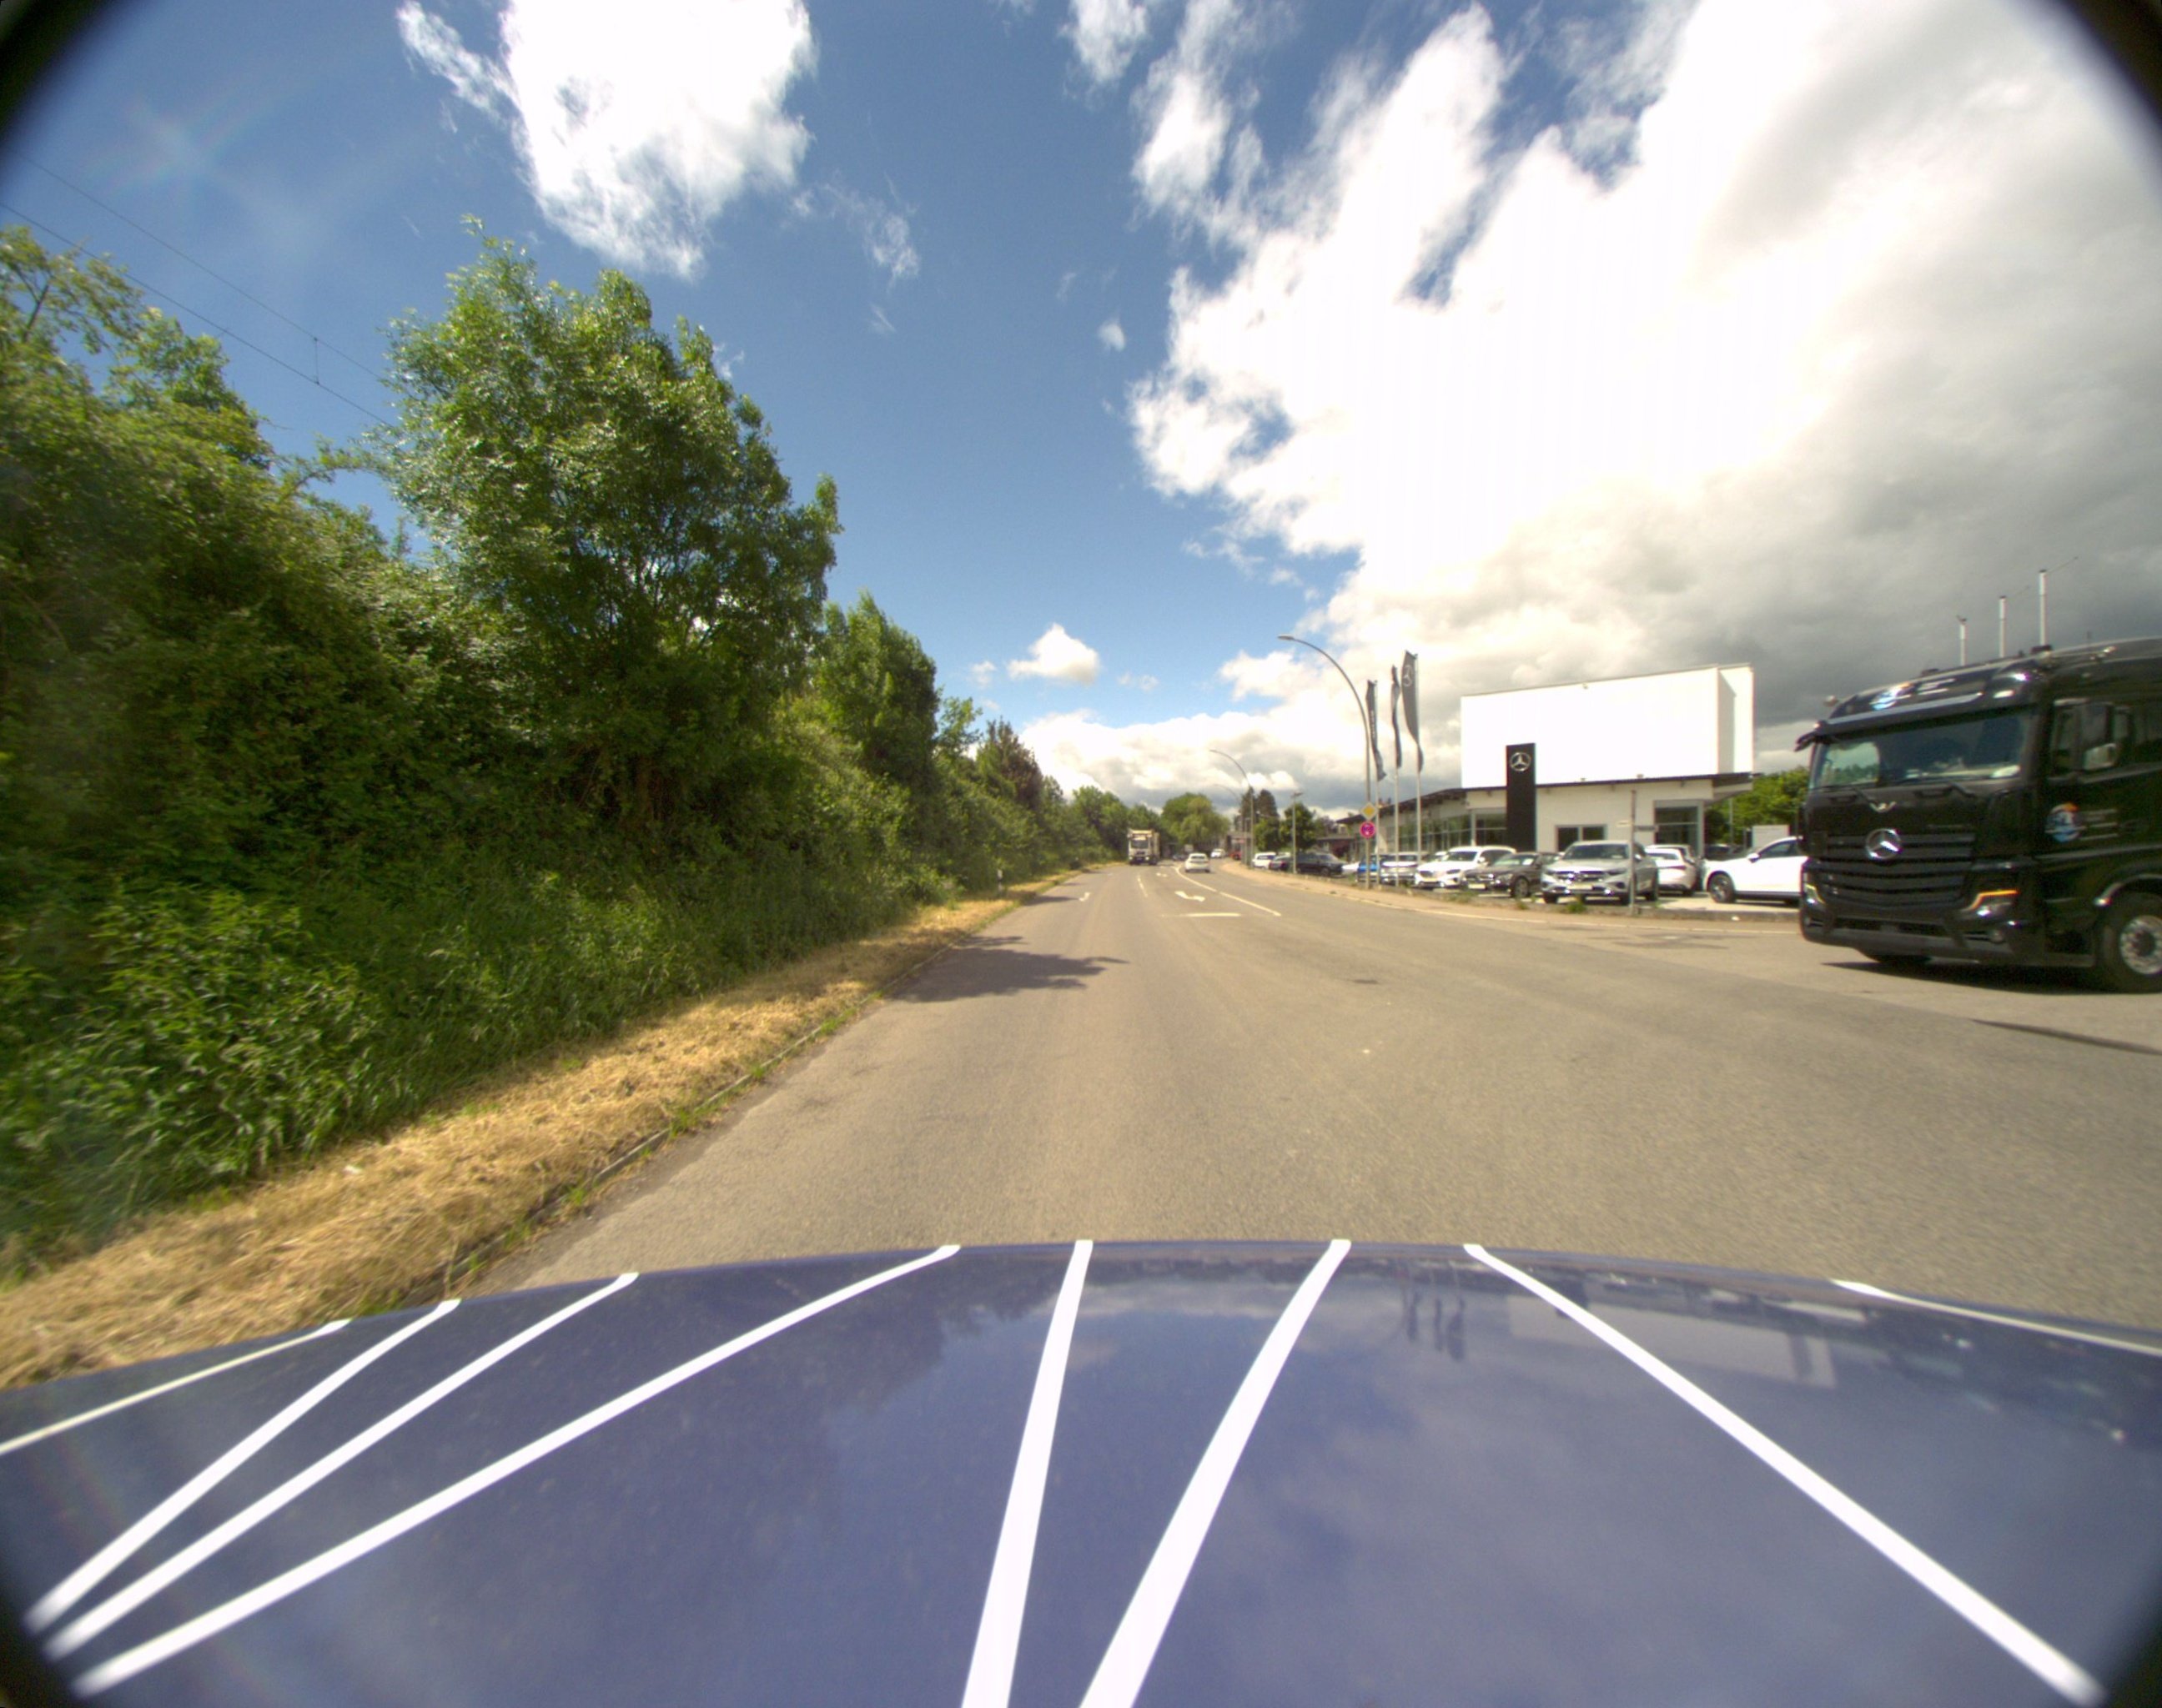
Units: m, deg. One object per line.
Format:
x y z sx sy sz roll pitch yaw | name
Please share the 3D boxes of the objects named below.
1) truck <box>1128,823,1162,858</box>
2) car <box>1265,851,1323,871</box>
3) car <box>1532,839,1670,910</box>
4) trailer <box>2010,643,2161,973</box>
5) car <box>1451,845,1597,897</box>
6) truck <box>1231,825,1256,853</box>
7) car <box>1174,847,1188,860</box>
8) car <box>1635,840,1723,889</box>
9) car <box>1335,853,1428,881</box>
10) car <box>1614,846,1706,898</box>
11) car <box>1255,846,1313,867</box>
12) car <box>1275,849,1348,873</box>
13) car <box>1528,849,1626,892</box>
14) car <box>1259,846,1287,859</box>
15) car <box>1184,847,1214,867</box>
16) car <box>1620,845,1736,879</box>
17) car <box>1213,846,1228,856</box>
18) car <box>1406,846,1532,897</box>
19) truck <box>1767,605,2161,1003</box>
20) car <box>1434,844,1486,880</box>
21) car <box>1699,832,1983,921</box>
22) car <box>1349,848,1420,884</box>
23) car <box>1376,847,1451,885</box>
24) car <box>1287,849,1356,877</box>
7.284 -1.492 85.241 2.902 3.746 9.641 0 1 10 | truck
16.511 0.525 58.890 3.943 1.485 1.808 1 1 44 | car
13.574 0.457 19.714 4.752 1.595 1.983 -1 0 -44 | car
17.968 -0.587 10.115 9.471 4.060 3.315 0 1 -14 | trailer
13.783 0.502 23.615 4.334 1.457 1.793 -1 -1 -26 | car
28.433 -2.602 132.703 2.976 4.634 8.190 0 1 20 | truck
15.495 -0.089 117.482 1.952 2.002 4.003 0 1 12 | car
21.444 0.368 27.179 4.443 1.607 1.862 -1 -1 -44 | car
16.966 0.760 43.108 1.807 1.382 4.587 -4 1 -37 | car
17.998 0.511 23.526 1.862 1.458 4.569 -2 -1 42 | car
18.913 0.229 70.905 4.944 1.828 1.897 1 1 41 | car
16.770 0.519 55.468 4.623 1.615 2.067 -1 -1 39 | car
18.503 0.569 28.272 4.568 1.458 1.863 -1 -1 -41 | car
23.251 -0.151 92.156 3.261 1.565 1.584 1 1 14 | car
9.088 0.190 58.716 1.997 1.442 4.428 1 1 6 | car
30.438 0.376 38.938 4.571 1.581 1.931 0 2 35 | car
27.403 -0.550 149.202 1.951 2.002 4.007 0 1 24 | car
13.915 0.582 27.215 4.305 1.668 1.932 -1 1 -28 | car
12.142 -0.495 8.918 5.570 3.802 2.983 0 1 -3 | truck
18.294 0.380 36.605 1.799 1.615 3.963 -1 -1 32 | car
16.660 0.427 17.092 1.935 1.711 4.601 -1 0 3 | car
15.041 0.561 37.502 1.889 1.659 4.580 -2 0 39 | car
14.786 0.520 33.629 1.868 1.557 4.531 -2 -1 39 | car
15.522 0.599 49.352 1.806 1.615 4.344 -4 1 -23 | car
